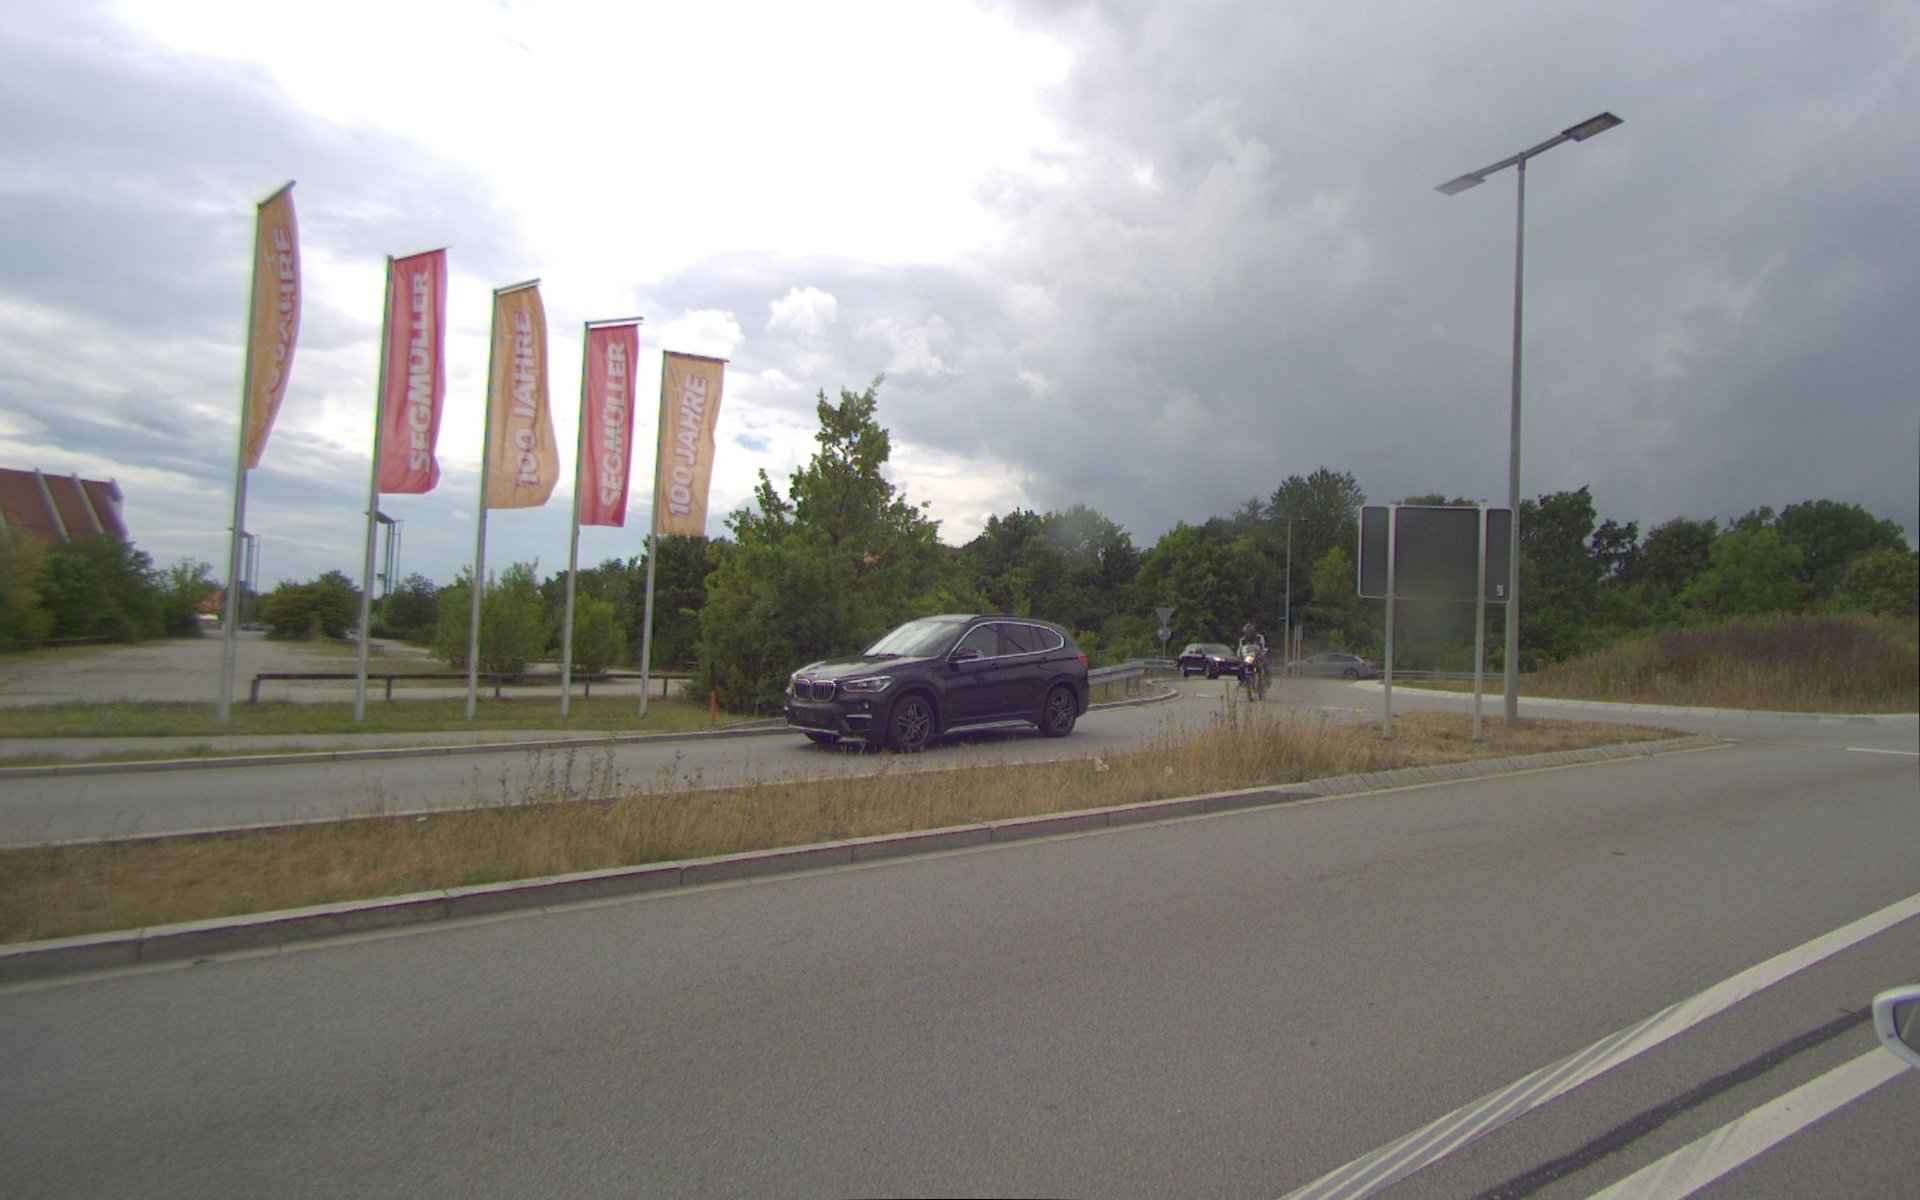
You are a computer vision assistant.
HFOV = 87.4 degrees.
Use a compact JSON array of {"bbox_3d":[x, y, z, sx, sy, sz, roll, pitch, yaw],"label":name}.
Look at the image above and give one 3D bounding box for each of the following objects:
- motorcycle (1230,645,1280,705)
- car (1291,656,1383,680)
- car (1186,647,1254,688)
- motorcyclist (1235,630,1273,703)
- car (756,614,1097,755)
[{"bbox_3d":[6.700,1.666,22.735,0.690,1.246,2.246,-1,-2,27],"label":"motorcycle"},{"bbox_3d":[20.045,3.578,53.497,4.398,1.190,1.630,-1,-3,31],"label":"car"},{"bbox_3d":[12.484,3.257,48.487,2.064,1.814,5.054,2,-4,2],"label":"car"},{"bbox_3d":[6.654,1.490,22.696,0.662,1.597,0.845,-1,-2,28],"label":"motorcyclist"},{"bbox_3d":[-0.276,1.005,12.776,1.867,1.486,4.256,-2,-4,44],"label":"car"}]
